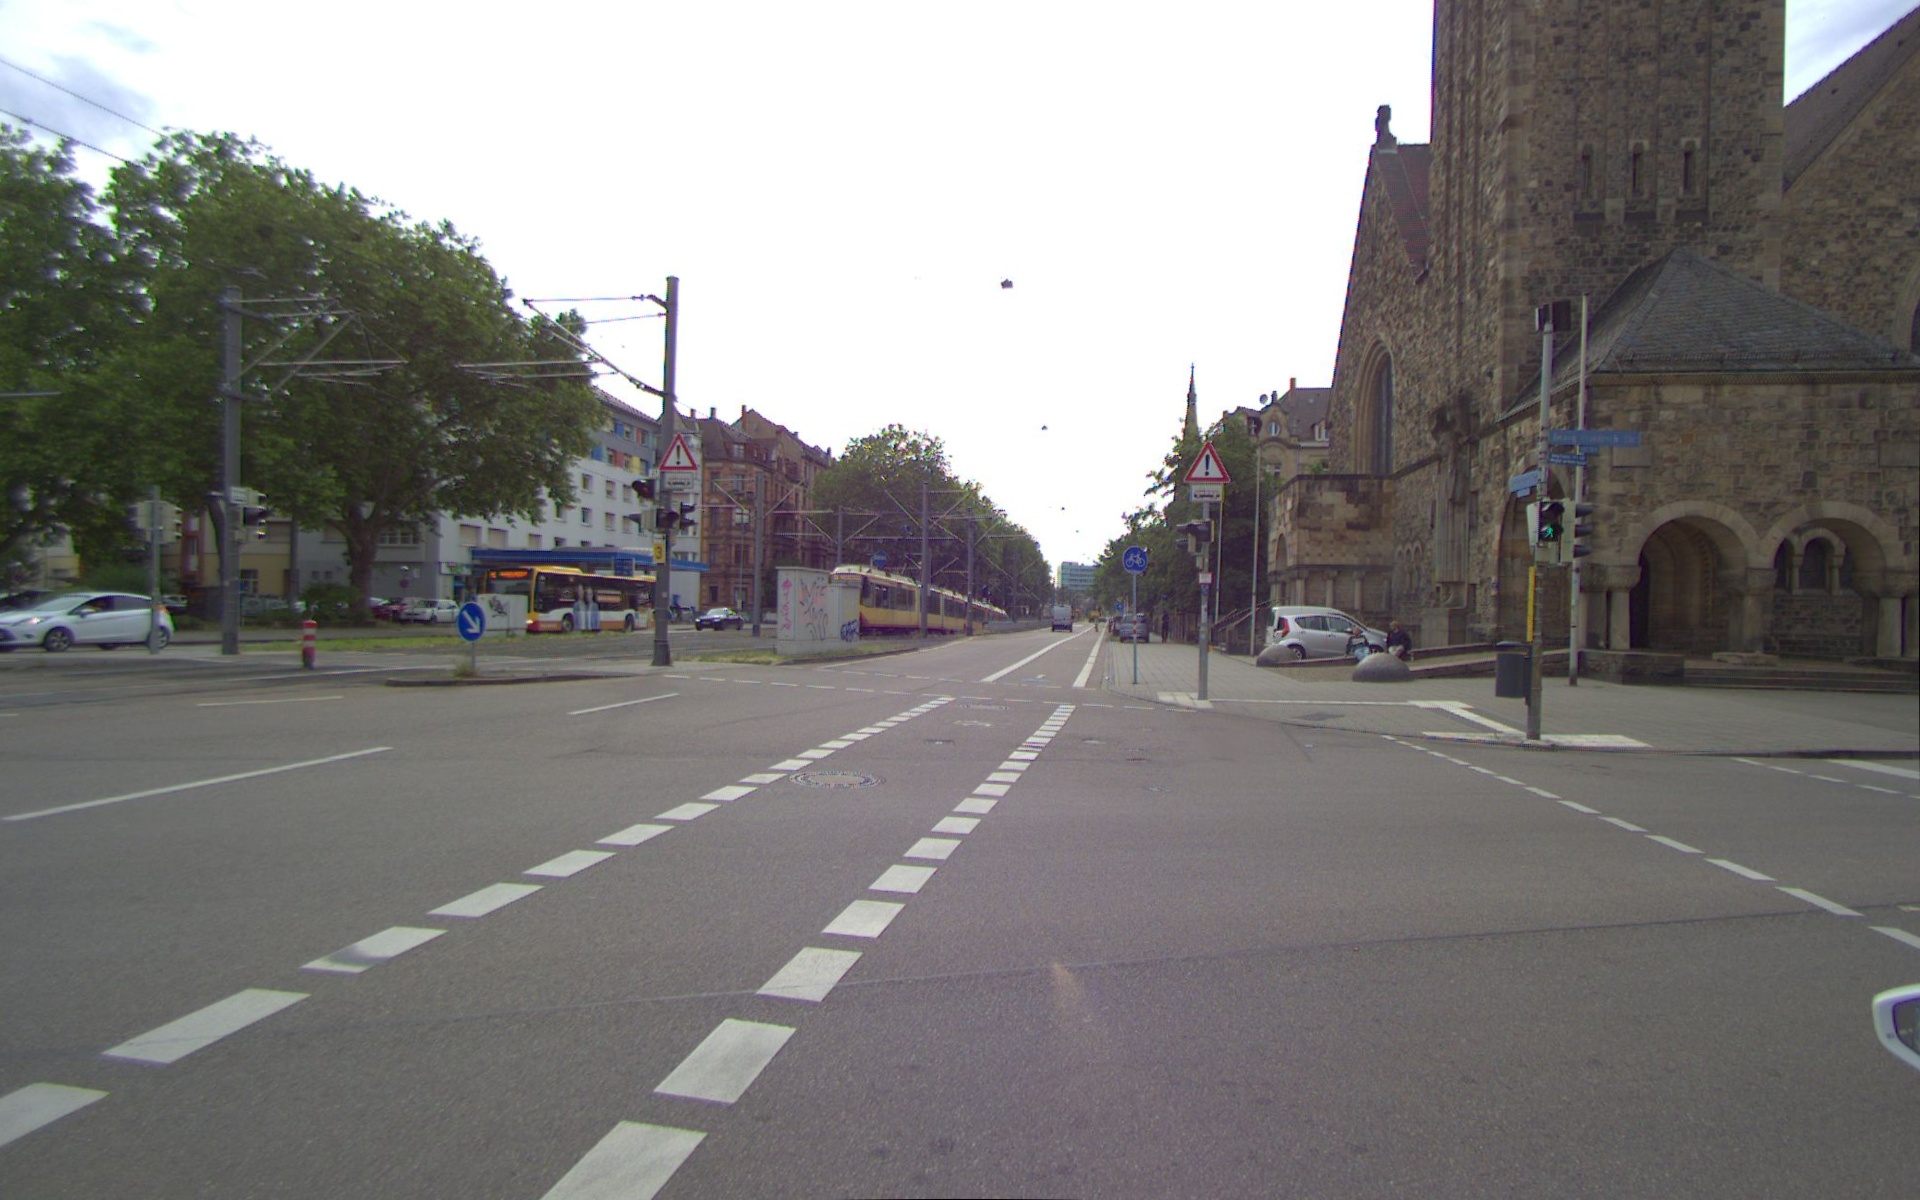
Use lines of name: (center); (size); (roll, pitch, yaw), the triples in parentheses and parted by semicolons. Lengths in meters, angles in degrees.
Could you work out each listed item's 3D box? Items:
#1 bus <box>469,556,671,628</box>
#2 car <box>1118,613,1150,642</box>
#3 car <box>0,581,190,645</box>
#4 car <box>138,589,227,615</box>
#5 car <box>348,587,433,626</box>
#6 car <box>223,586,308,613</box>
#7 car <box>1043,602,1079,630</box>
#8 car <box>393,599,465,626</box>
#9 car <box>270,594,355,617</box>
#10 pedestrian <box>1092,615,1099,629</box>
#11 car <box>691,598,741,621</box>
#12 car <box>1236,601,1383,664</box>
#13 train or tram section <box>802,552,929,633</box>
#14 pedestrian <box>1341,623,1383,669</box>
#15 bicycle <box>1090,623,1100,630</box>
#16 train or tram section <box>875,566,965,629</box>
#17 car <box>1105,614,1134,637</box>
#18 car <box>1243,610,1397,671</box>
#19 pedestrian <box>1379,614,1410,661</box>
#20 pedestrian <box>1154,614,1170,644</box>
bus: (-18.339, -0.238, 48.741); (3.225, 2.894, 12.388); (3, 0, 9)
car: (9.938, 1.547, 57.485); (1.673, 1.478, 3.893); (3, 0, 9)
car: (-21.666, 0.309, 24.962); (1.673, 1.416, 3.893); (3, 0, 9)
car: (-44.853, 0.121, 58.049); (1.673, 1.376, 3.893); (3, 0, 9)
car: (-31.043, 0.369, 54.920); (1.959, 2.040, 4.003); (1, -1, 8)
car: (-38.981, 0.002, 56.491); (1.673, 1.376, 3.893); (3, 0, 9)
car: (10.027, 1.558, 99.975); (2.472, 2.641, 5.824); (3, 0, -5)
car: (-28.636, 0.678, 54.247); (1.673, 1.376, 3.406); (3, 0, 9)
car: (-36.033, 0.303, 56.024); (1.699, 1.190, 4.012); (1, -1, 8)
pedestrian: (14.012, 2.261, 104.015); (0.641, 1.493, 0.651); (1, 0, -1)
car: (-15.674, 0.623, 64.660); (1.673, 1.376, 3.893); (3, 0, 9)
car: (12.074, 1.121, 34.959); (4.532, 1.906, 1.664); (3, 0, 8)
train or tram section: (-5.256, -0.288, 60.617); (3.580, 4.147, 15.049); (3, 0, 10)
pedestrian: (11.257, 1.280, 28.157); (0.724, 1.207, 1.494); (3, 0, 9)
bicycle: (13.978, 2.771, 103.907); (0.601, 0.663, 2.380); (3, -1, -2)
train or tram section: (-2.681, -0.073, 75.549); (3.509, 4.147, 15.049); (3, 0, 10)
car: (11.533, 1.831, 72.747); (1.959, 1.606, 4.003); (1, -1, 8)
car: (11.237, 1.237, 31.601); (4.274, 1.658, 1.664); (3, 0, 8)
pedestrian: (12.127, 1.029, 28.035); (0.725, 1.245, 1.062); (3, 0, 23)
pedestrian: (11.434, 1.636, 56.832); (0.763, 1.669, 0.799); (3, 0, 15)
